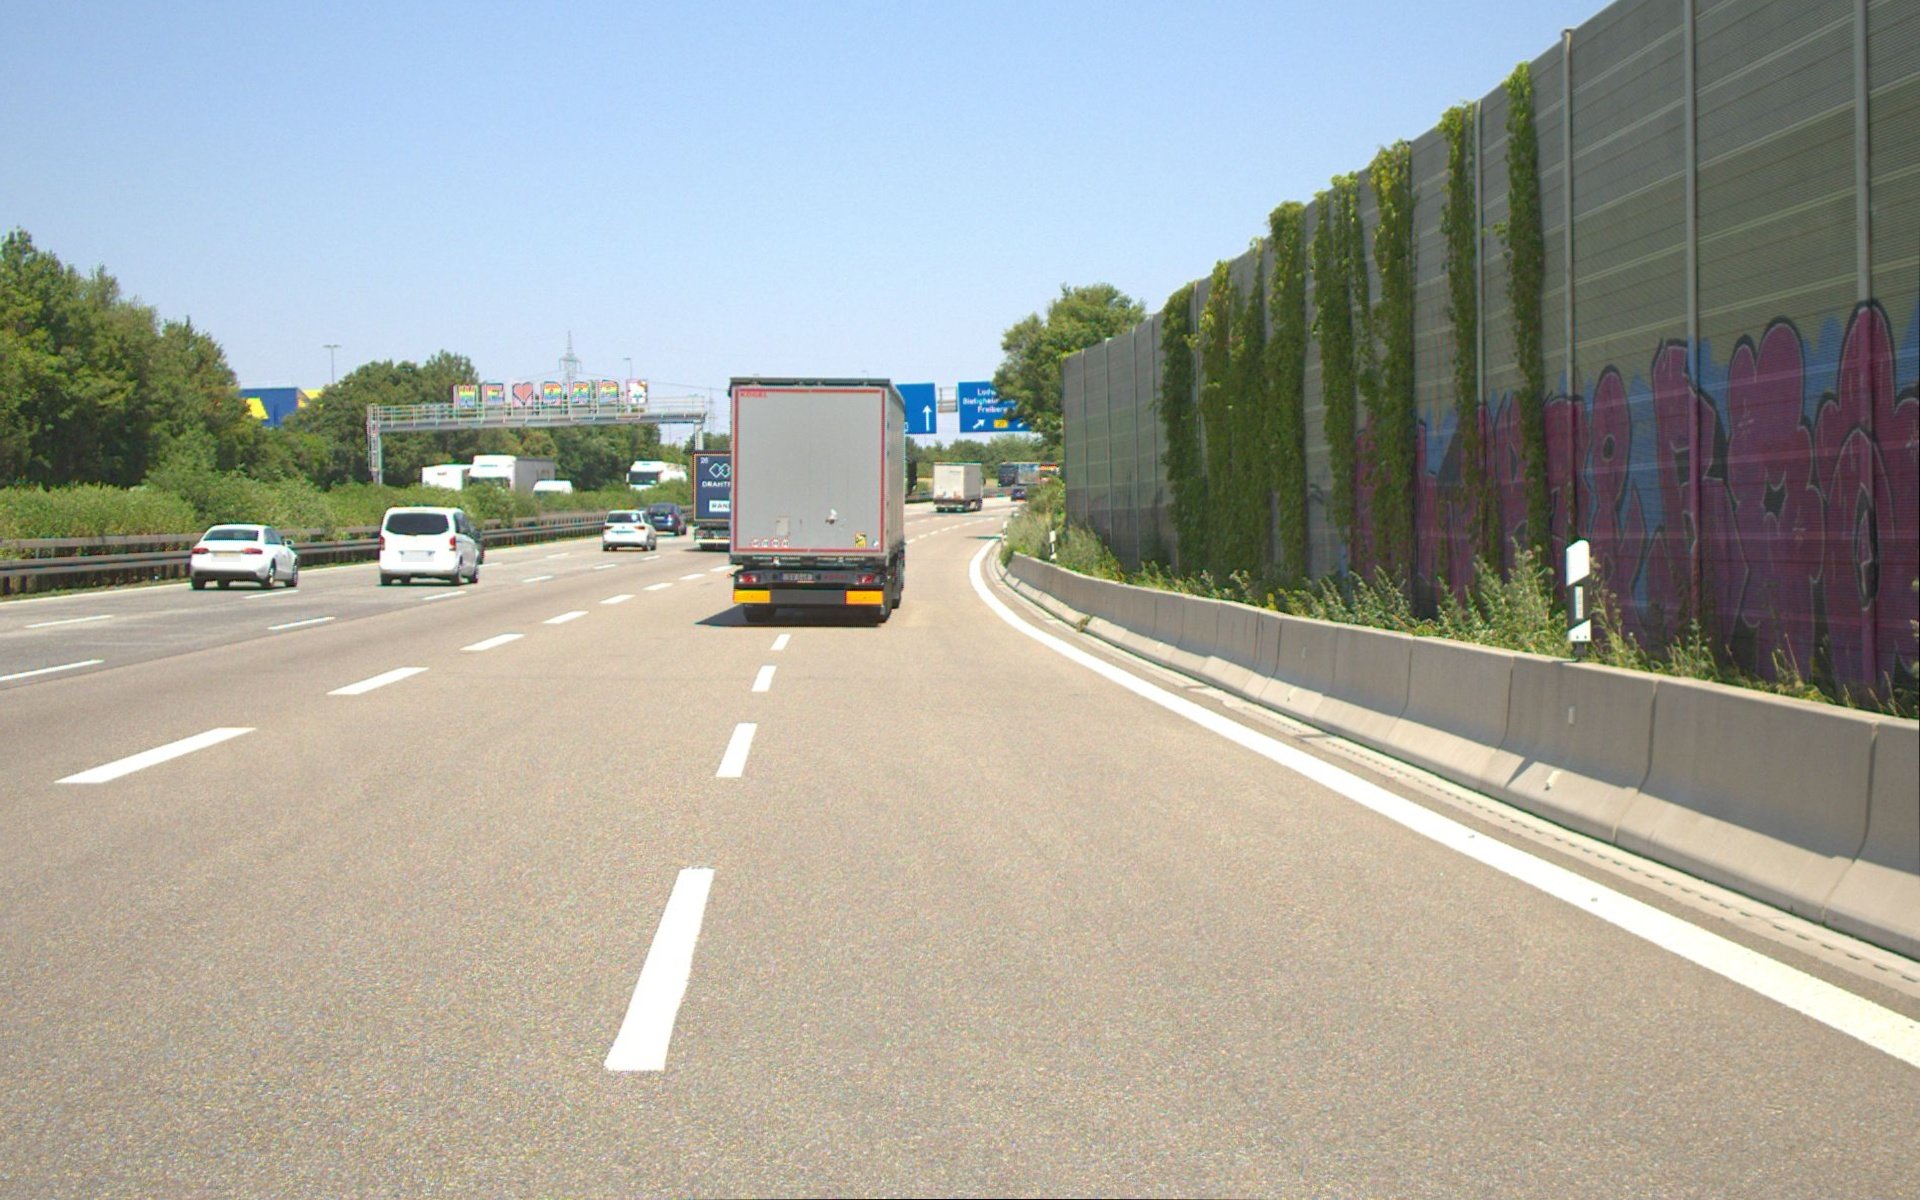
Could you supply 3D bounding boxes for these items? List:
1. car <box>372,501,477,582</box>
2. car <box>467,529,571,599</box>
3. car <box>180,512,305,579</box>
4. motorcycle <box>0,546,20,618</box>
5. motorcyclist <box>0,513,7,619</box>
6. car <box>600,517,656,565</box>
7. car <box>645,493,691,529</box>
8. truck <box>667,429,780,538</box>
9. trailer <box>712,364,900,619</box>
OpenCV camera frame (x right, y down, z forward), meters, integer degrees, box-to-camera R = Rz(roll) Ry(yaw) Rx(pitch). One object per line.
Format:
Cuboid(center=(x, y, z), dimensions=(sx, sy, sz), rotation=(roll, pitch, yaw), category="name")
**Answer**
Cuboid(center=(-12.878, -1.386, 82.884), dimensions=(1.930, 1.845, 4.692), rotation=(-1, 0, -2), category="car")
Cuboid(center=(-11.742, -0.955, 91.833), dimensions=(1.876, 1.800, 5.125), rotation=(0, 1, 3), category="car")
Cuboid(center=(-16.121, -1.213, 77.505), dimensions=(1.876, 1.435, 5.126), rotation=(0, 1, -2), category="car")
Cuboid(center=(-14.762, -0.267, 51.094), dimensions=(0.912, 1.085, 2.850), rotation=(0, 1, -2), category="motorcycle")
Cuboid(center=(-14.760, -0.506, 51.057), dimensions=(0.893, 1.591, 1.299), rotation=(0, 1, -2), category="motorcyclist")
Cuboid(center=(-13.203, -2.352, 136.756), dimensions=(1.904, 1.845, 4.632), rotation=(-1, 2, -2), category="car")
Cuboid(center=(-14.787, -4.498, 174.276), dimensions=(1.904, 1.711, 4.631), rotation=(-1, 0, 0), category="car")
Cuboid(center=(-9.672, -4.824, 142.397), dimensions=(3.747, 4.255, 14.497), rotation=(1, 2, -1), category="truck")
Cuboid(center=(-2.572, -1.910, 60.317), dimensions=(2.928, 4.001, 12.040), rotation=(-1, 2, -1), category="trailer")
